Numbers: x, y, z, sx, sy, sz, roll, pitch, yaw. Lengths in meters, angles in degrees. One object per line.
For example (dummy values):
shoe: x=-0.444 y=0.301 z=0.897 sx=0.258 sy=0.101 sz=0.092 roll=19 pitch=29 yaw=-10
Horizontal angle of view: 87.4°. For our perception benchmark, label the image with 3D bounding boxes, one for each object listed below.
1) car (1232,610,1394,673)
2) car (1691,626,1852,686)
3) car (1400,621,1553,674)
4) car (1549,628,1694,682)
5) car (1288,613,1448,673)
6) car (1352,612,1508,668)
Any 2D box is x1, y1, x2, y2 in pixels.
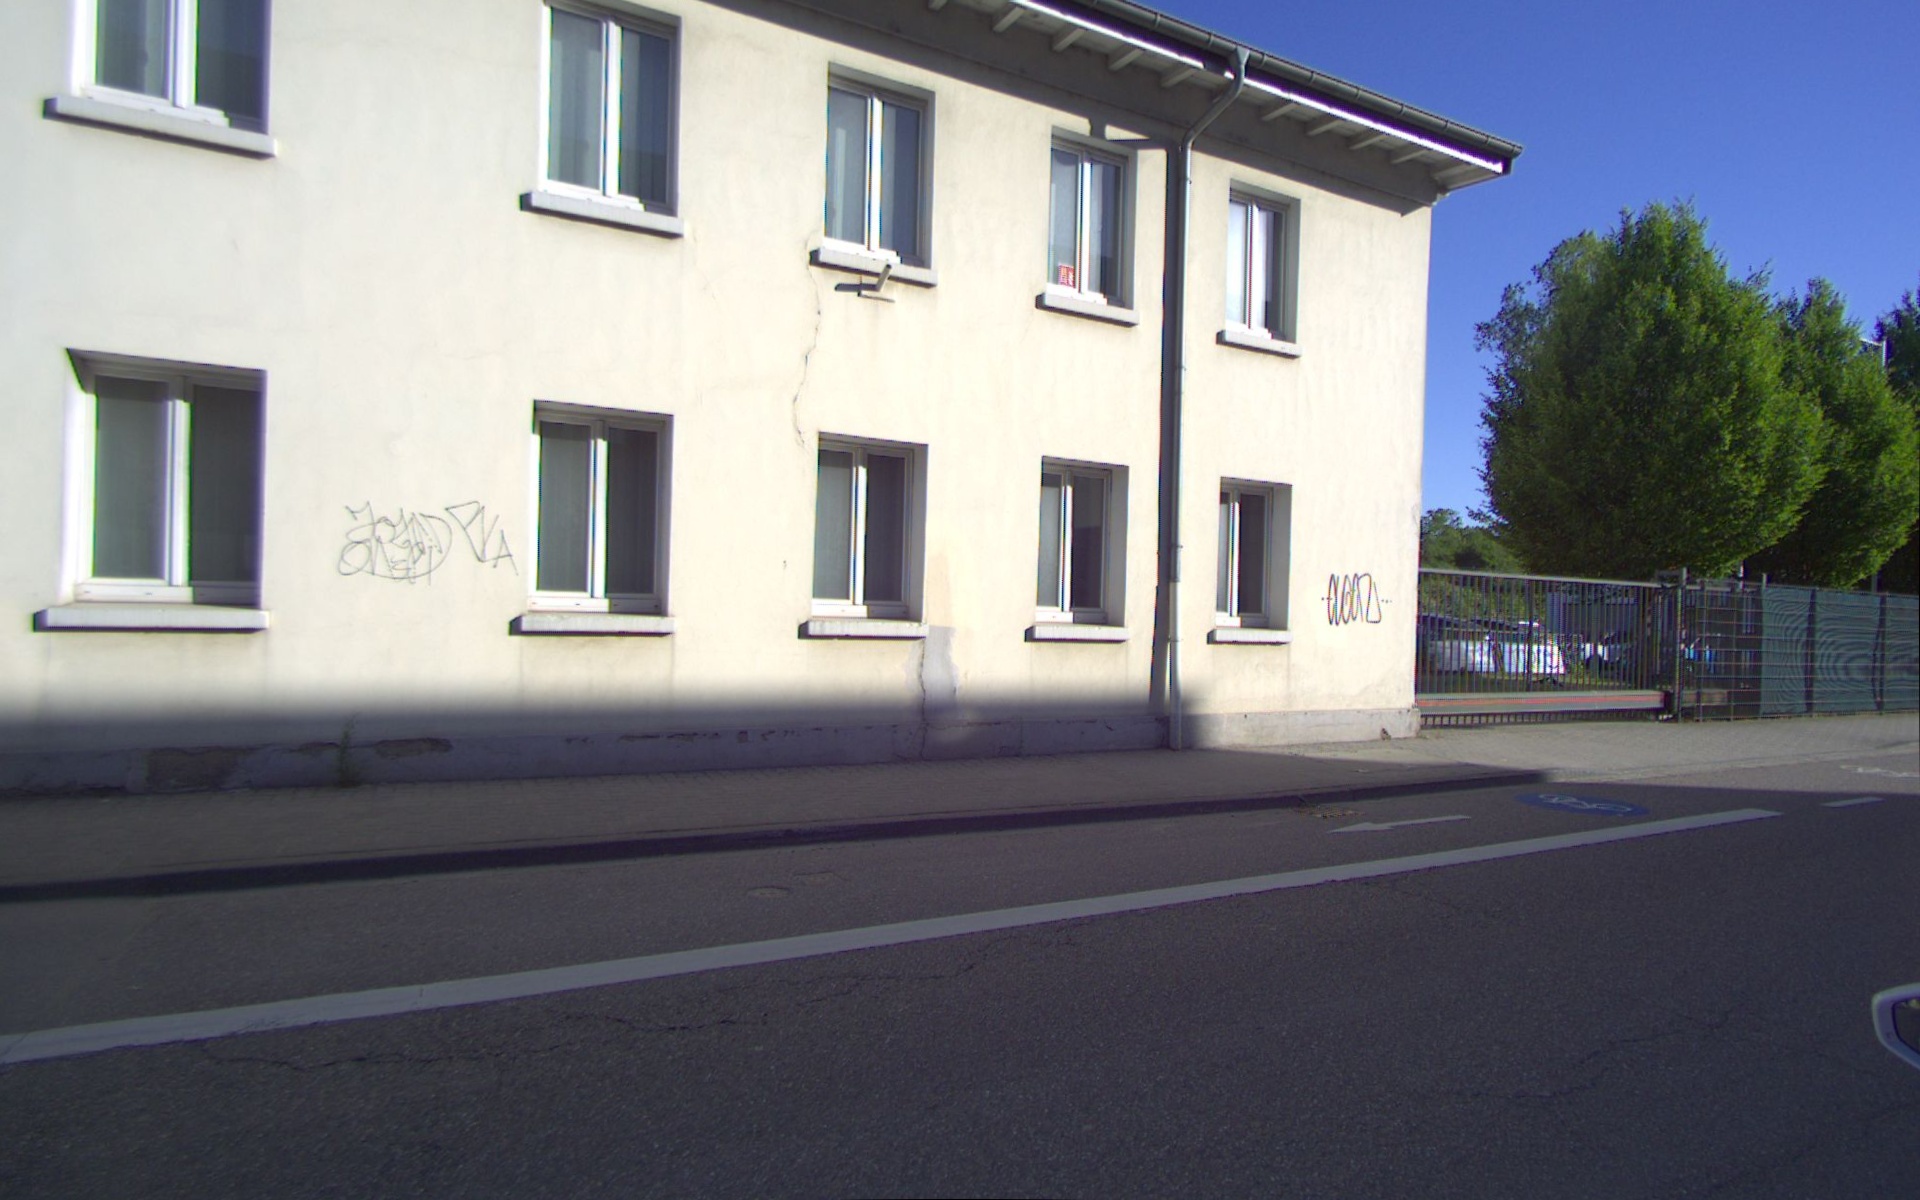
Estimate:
car: x=9.356 y=1.085 z=26.963 sx=1.851 sy=1.560 sz=3.974 roll=1 pitch=-2 yaw=-26
car: x=22.126 y=1.511 z=27.390 sx=3.948 sy=1.470 sz=1.986 roll=2 pitch=-1 yaw=-27
car: x=16.071 y=1.444 z=31.460 sx=1.851 sy=1.560 sz=3.974 roll=1 pitch=-2 yaw=-26
car: x=20.097 y=1.656 z=30.499 sx=3.948 sy=1.470 sz=1.986 roll=2 pitch=-1 yaw=-27
car: x=11.393 y=1.193 z=28.318 sx=1.851 sy=1.560 sz=3.974 roll=1 pitch=-2 yaw=-26
car: x=13.920 y=1.172 z=29.961 sx=1.851 sy=1.560 sz=3.974 roll=1 pitch=-2 yaw=-26
